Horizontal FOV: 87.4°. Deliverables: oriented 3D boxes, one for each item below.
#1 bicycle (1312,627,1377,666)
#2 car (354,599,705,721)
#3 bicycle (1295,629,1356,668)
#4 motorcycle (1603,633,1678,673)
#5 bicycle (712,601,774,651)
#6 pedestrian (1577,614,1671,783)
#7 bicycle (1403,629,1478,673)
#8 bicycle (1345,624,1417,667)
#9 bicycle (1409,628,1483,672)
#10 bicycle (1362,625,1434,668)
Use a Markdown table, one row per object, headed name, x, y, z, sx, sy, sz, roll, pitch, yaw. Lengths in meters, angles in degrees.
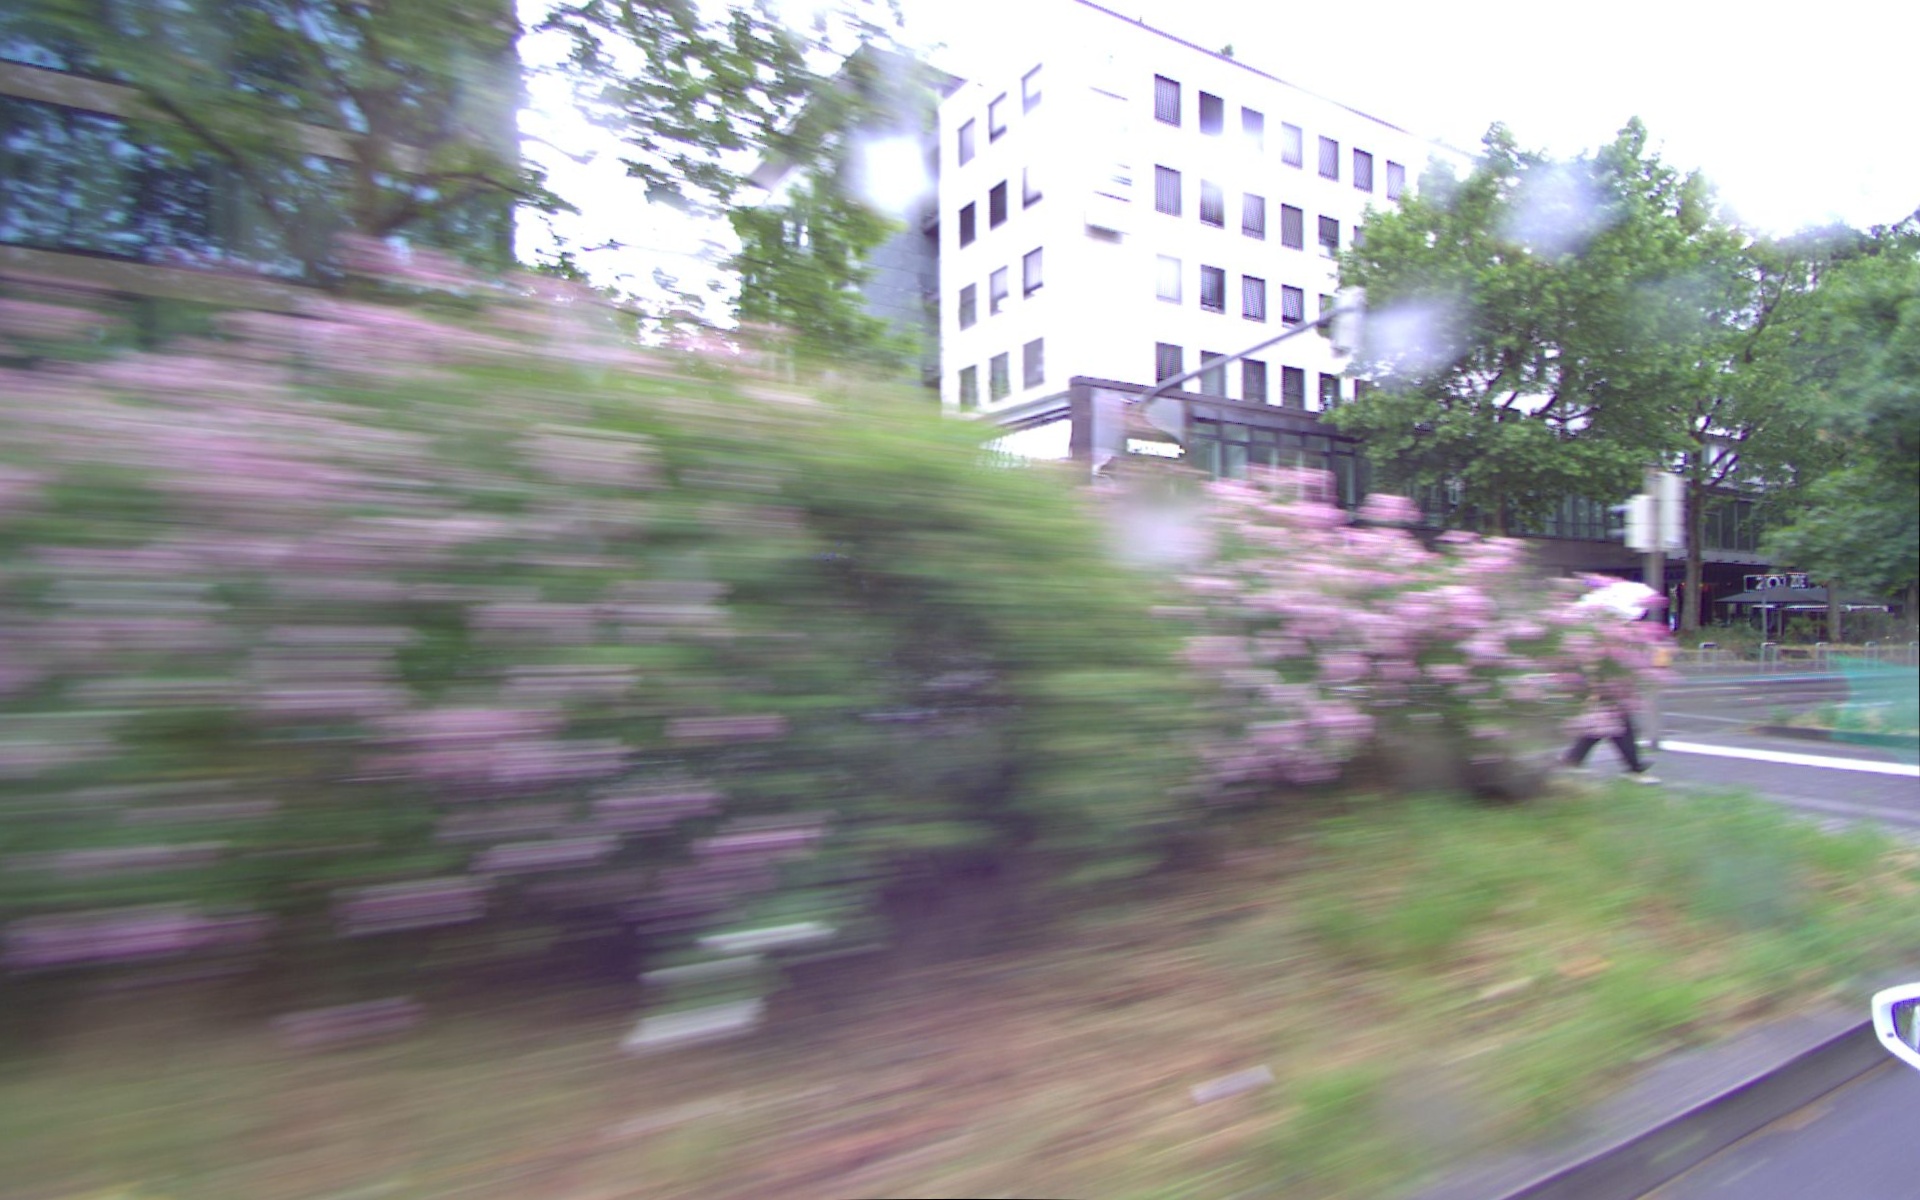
| name | x | y | z | sx | sy | sz | roll | pitch | yaw |
| --- | --- | --- | --- | --- | --- | --- | --- | --- | --- |
| bicycle | 10.224 | 1.220 | 26.754 | 0.505 | 0.975 | 1.606 | 1 | -1 | -37 |
| car | -6.217 | 0.802 | 14.663 | 4.468 | 1.529 | 1.982 | 1 | -1 | -33 |
| bicycle | 9.624 | 1.262 | 26.479 | 0.561 | 0.992 | 1.451 | 1 | -1 | -38 |
| motorcycle | 19.935 | 1.545 | 29.460 | 1.748 | 1.099 | 0.495 | 1 | 0 | 31 |
| bicycle | -5.813 | 0.681 | 26.786 | 0.683 | 1.263 | 2.368 | 1 | -1 | -37 |
| pedestrian | 6.099 | 0.882 | 9.238 | 0.534 | 1.508 | 0.482 | 1 | 0 | -12 |
| bicycle | 13.306 | 1.389 | 27.851 | 0.560 | 1.152 | 1.832 | 0 | -1 | -36 |
| bicycle | 11.598 | 1.241 | 27.702 | 0.561 | 1.112 | 1.808 | 1 | -1 | -37 |
| bicycle | 13.717 | 1.395 | 28.385 | 0.560 | 1.165 | 1.832 | 0 | -1 | -36 |
| bicycle | 12.225 | 1.287 | 28.085 | 0.561 | 1.152 | 1.831 | 1 | -1 | -37 |
